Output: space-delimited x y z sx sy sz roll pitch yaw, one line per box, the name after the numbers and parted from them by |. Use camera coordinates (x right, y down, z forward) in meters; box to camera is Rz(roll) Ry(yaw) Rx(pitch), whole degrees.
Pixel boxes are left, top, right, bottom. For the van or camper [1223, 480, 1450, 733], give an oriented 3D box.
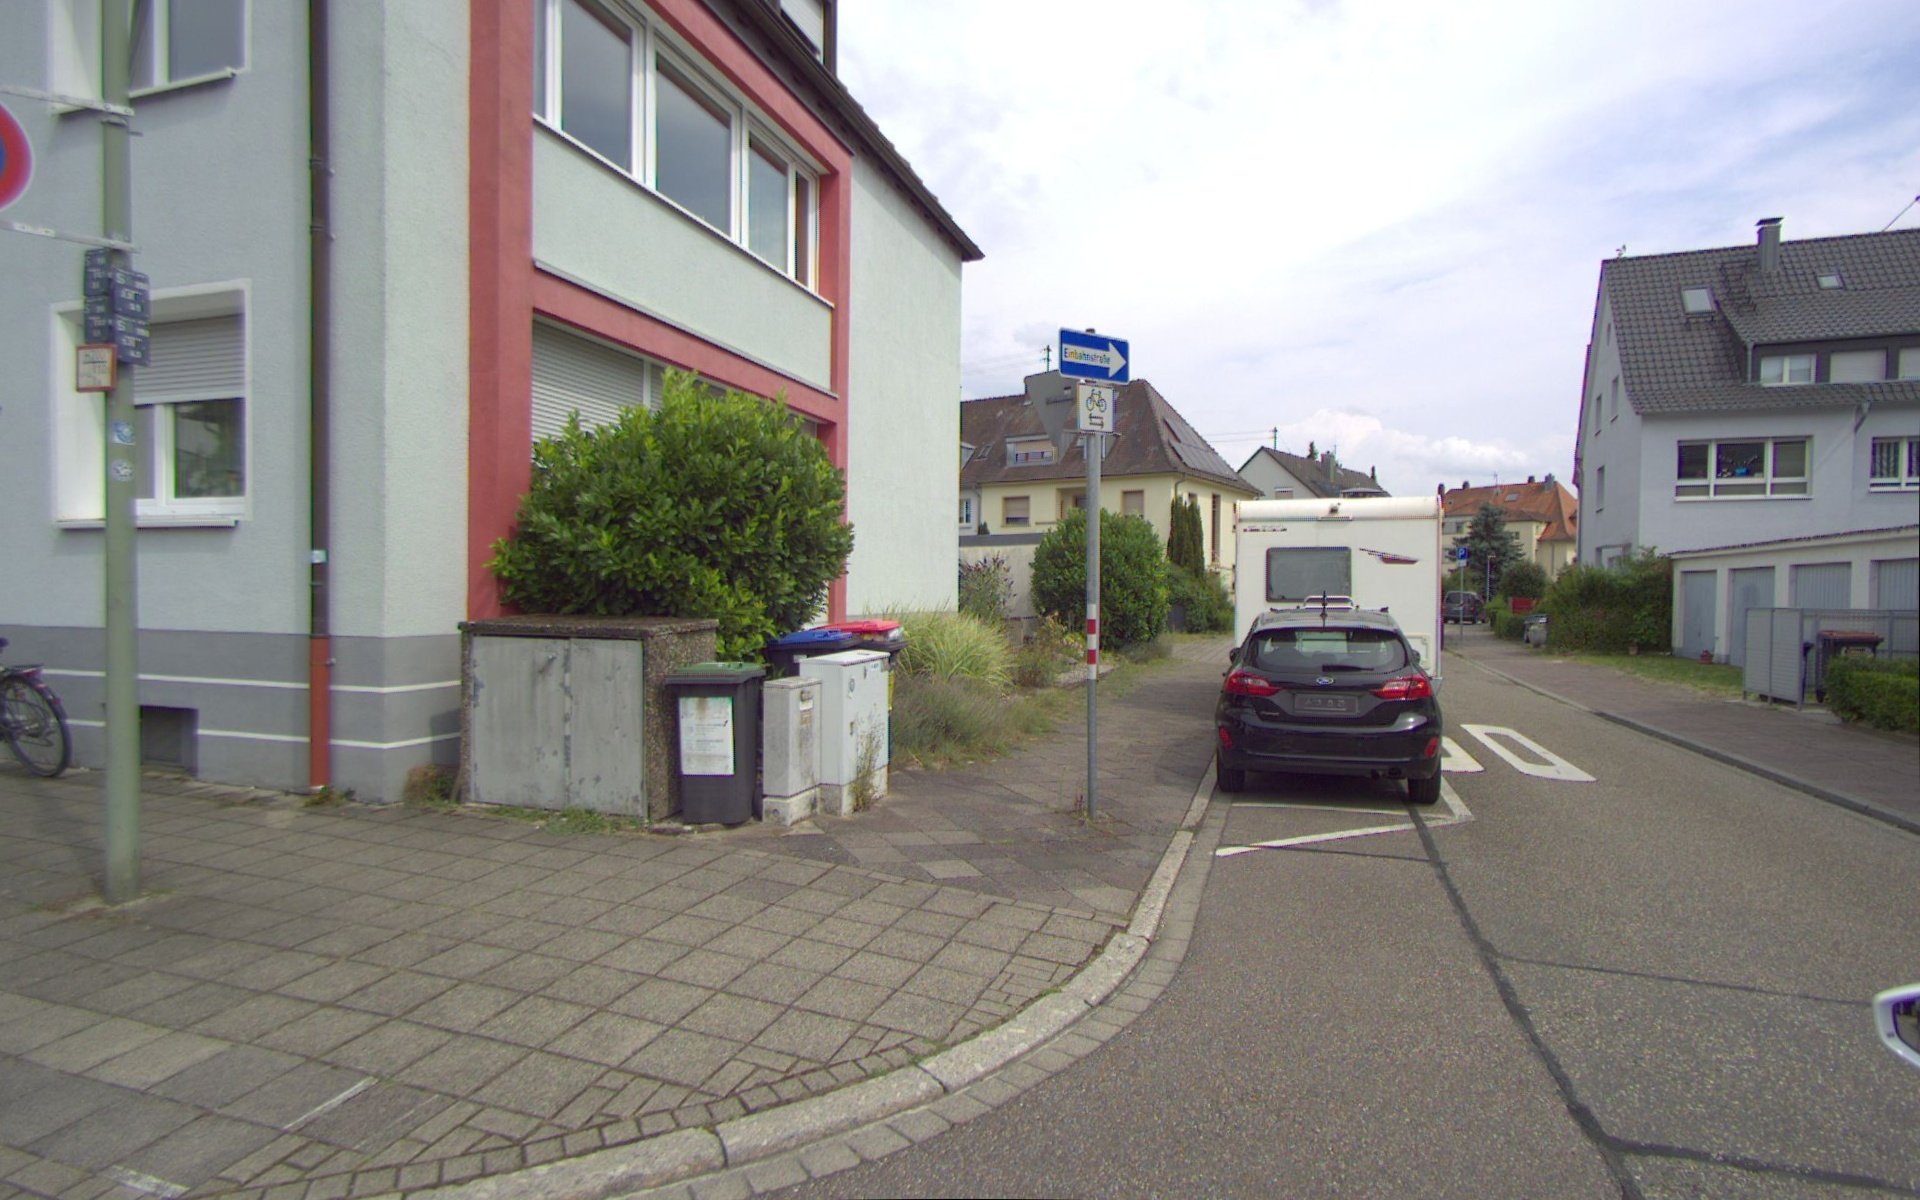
5.359 0.143 14.278 2.365 2.761 6.161 1 -1 22 | van or camper

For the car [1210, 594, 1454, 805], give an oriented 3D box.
3.367 0.742 9.020 1.632 1.441 3.767 1 -1 22 | car

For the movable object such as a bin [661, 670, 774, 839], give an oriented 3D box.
-1.432 0.892 5.972 0.466 0.919 0.488 1 -1 12 | movable object such as a bin

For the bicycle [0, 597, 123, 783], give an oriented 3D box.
-6.653 0.562 6.881 1.836 1.168 0.492 1 -1 18 | bicycle

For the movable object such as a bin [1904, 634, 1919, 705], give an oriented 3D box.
13.769 0.986 14.192 0.446 0.986 0.507 1 -1 20 | movable object such as a bin

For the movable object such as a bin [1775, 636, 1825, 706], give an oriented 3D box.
12.164 1.018 14.556 0.383 0.986 0.515 1 -1 19 | movable object such as a bin

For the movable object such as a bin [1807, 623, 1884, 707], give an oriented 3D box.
12.726 0.917 14.455 0.570 1.152 0.755 1 -1 19 | movable object such as a bin

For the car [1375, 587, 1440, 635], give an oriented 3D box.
17.530 0.457 39.220 1.827 1.765 4.338 1 -1 30 | car

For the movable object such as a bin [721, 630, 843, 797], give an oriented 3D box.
-1.275 0.789 7.264 0.664 1.128 0.594 1 -1 12 | movable object such as a bin

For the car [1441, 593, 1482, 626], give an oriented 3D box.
28.868 0.541 57.734 1.827 1.765 4.338 1 -1 30 | car

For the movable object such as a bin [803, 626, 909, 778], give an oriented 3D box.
-0.822 0.787 8.047 0.664 1.147 0.594 1 -1 12 | movable object such as a bin

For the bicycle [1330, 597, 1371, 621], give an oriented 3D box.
24.543 0.568 63.205 2.308 1.480 0.719 1 -1 -3 | bicycle

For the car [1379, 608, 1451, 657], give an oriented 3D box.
14.799 1.050 32.536 1.698 1.471 3.992 1 -1 30 | car
